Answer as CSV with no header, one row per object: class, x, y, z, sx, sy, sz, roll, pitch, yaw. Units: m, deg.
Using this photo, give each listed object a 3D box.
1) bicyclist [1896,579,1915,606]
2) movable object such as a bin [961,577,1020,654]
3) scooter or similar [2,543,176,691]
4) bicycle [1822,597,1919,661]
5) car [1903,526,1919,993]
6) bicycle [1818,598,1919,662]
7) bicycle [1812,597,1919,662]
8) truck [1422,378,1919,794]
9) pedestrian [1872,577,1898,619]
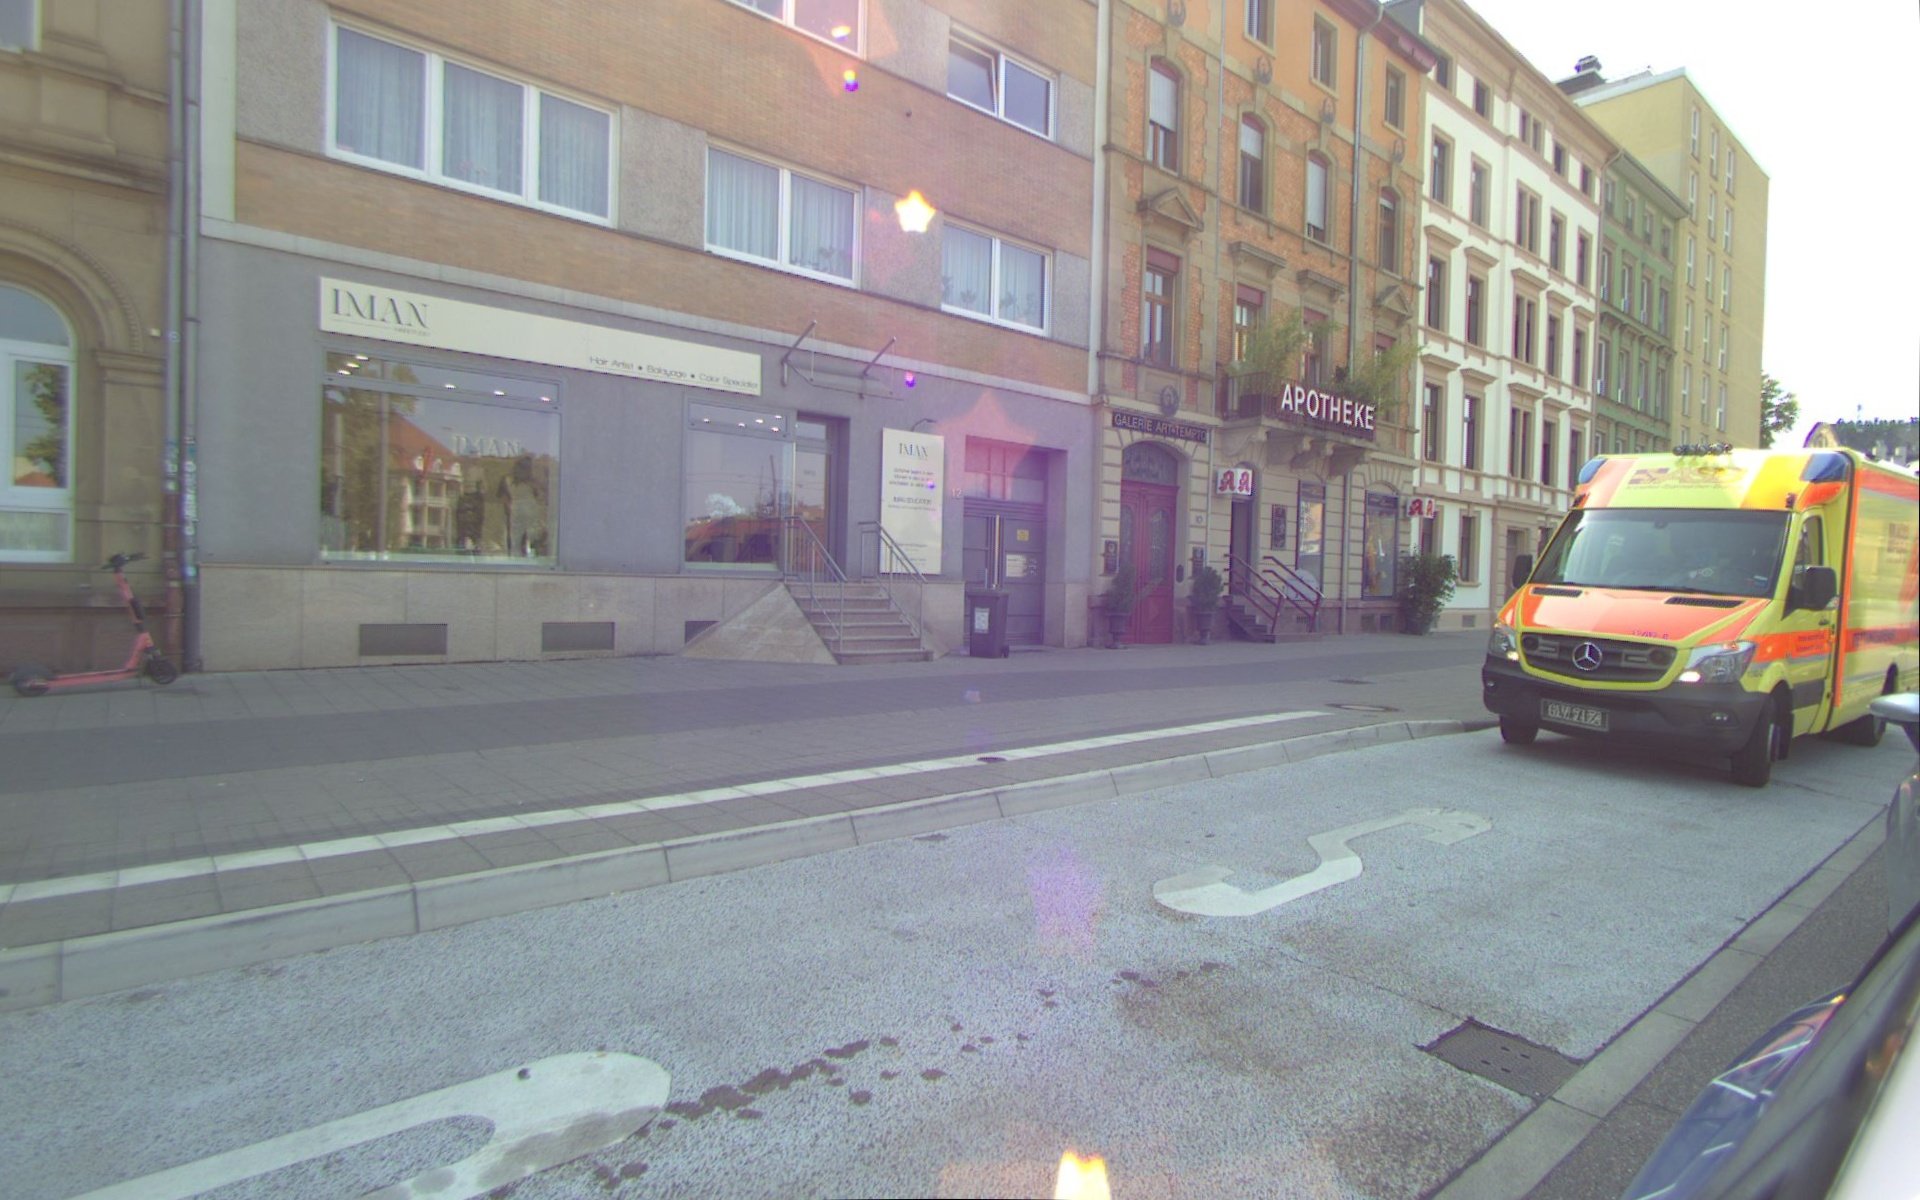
bicyclist,58.038,-0.439,62.122,1.083,1.606,0.721,1,1,-40
movable object such as a bin,0.483,0.223,15.670,0.640,1.118,0.723,3,2,24
scooter or similar,-7.657,0.131,8.919,0.476,1.227,1.124,3,2,44
bicycle,18.648,0.571,20.428,0.427,1.235,1.841,1,0,-39
car,5.336,0.566,4.125,3.929,1.608,1.728,0,1,-40
bicycle,18.301,0.583,20.136,0.427,1.219,1.841,1,0,-39
bicycle,17.965,0.568,19.871,0.427,1.219,1.841,1,0,-39
truck,7.214,-0.171,9.624,6.221,2.803,2.336,0,4,-37
pedestrian,38.014,-0.084,41.577,0.783,1.648,0.645,0,2,-41
